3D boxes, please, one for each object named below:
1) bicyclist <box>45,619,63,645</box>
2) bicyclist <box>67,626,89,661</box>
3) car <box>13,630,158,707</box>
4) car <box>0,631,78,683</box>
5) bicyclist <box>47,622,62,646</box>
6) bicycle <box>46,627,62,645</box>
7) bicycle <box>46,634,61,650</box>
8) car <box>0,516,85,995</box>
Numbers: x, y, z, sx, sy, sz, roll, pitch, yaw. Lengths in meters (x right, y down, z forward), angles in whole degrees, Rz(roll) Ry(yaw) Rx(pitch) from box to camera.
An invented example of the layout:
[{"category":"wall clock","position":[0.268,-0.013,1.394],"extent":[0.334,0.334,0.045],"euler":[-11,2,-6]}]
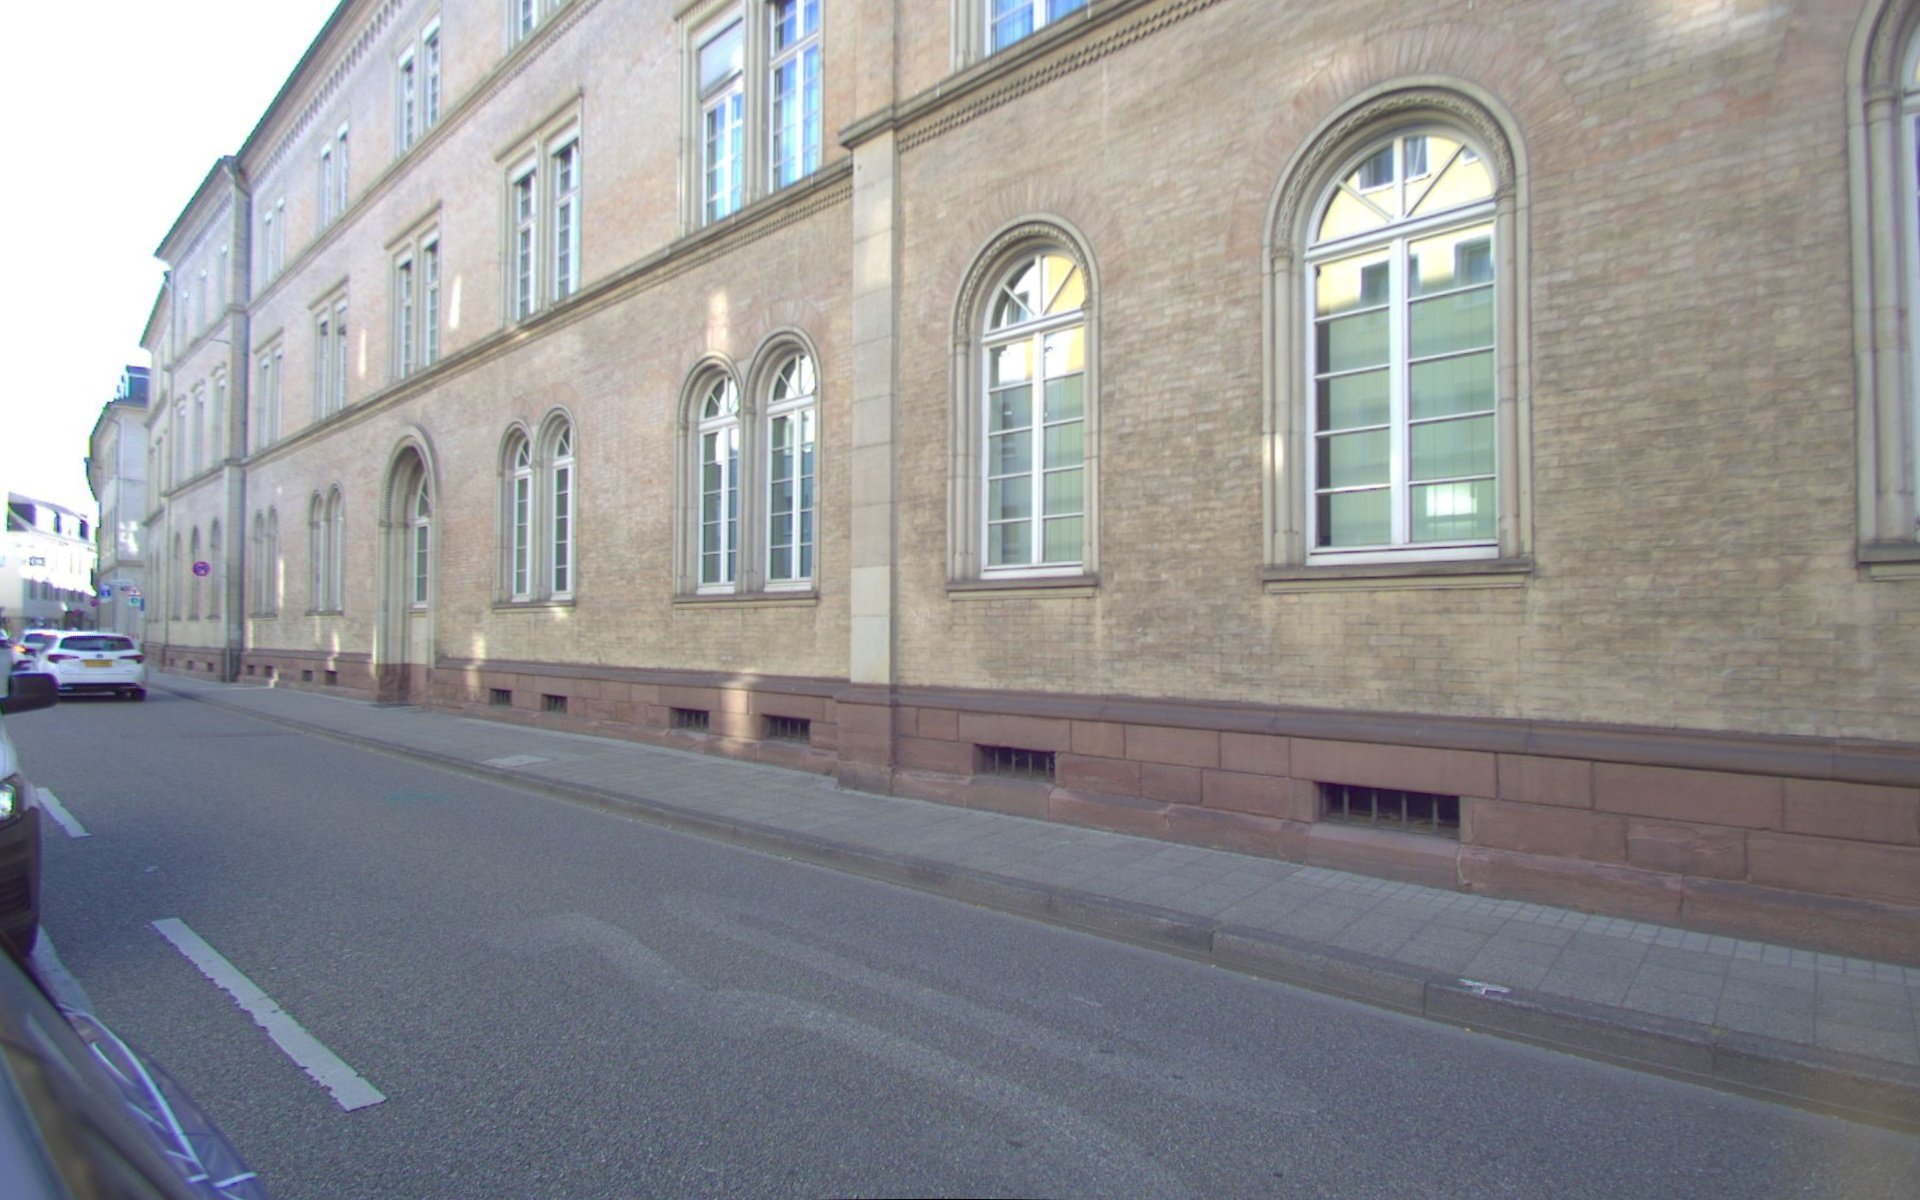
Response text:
[{"category":"bicyclist","position":[-54.530,1.934,60.909],"extent":[0.642,1.579,0.961],"euler":[5,-5,-43]},{"category":"bicyclist","position":[-36.770,1.797,42.194],"extent":[0.579,1.454,0.596],"euler":[-2,-3,45]},{"category":"car","position":[-18.897,1.419,21.793],"extent":[4.545,1.487,1.866],"euler":[-1,-4,44]},{"category":"car","position":[-30.048,1.840,32.886],"extent":[4.276,1.595,1.666],"euler":[-2,-5,44]},{"category":"bicyclist","position":[-60.667,2.288,67.811],"extent":[0.642,1.520,1.112],"euler":[5,-5,-42]},{"category":"bicycle","position":[-54.534,2.162,60.907],"extent":[0.642,1.014,1.808],"euler":[5,-5,-43]},{"category":"bicycle","position":[-60.674,2.832,67.750],"extent":[0.642,1.014,1.878],"euler":[5,-5,-40]},{"category":"car","position":[-6.150,0.645,5.174],"extent":[5.338,1.850,1.795],"euler":[-2,-3,41]}]
